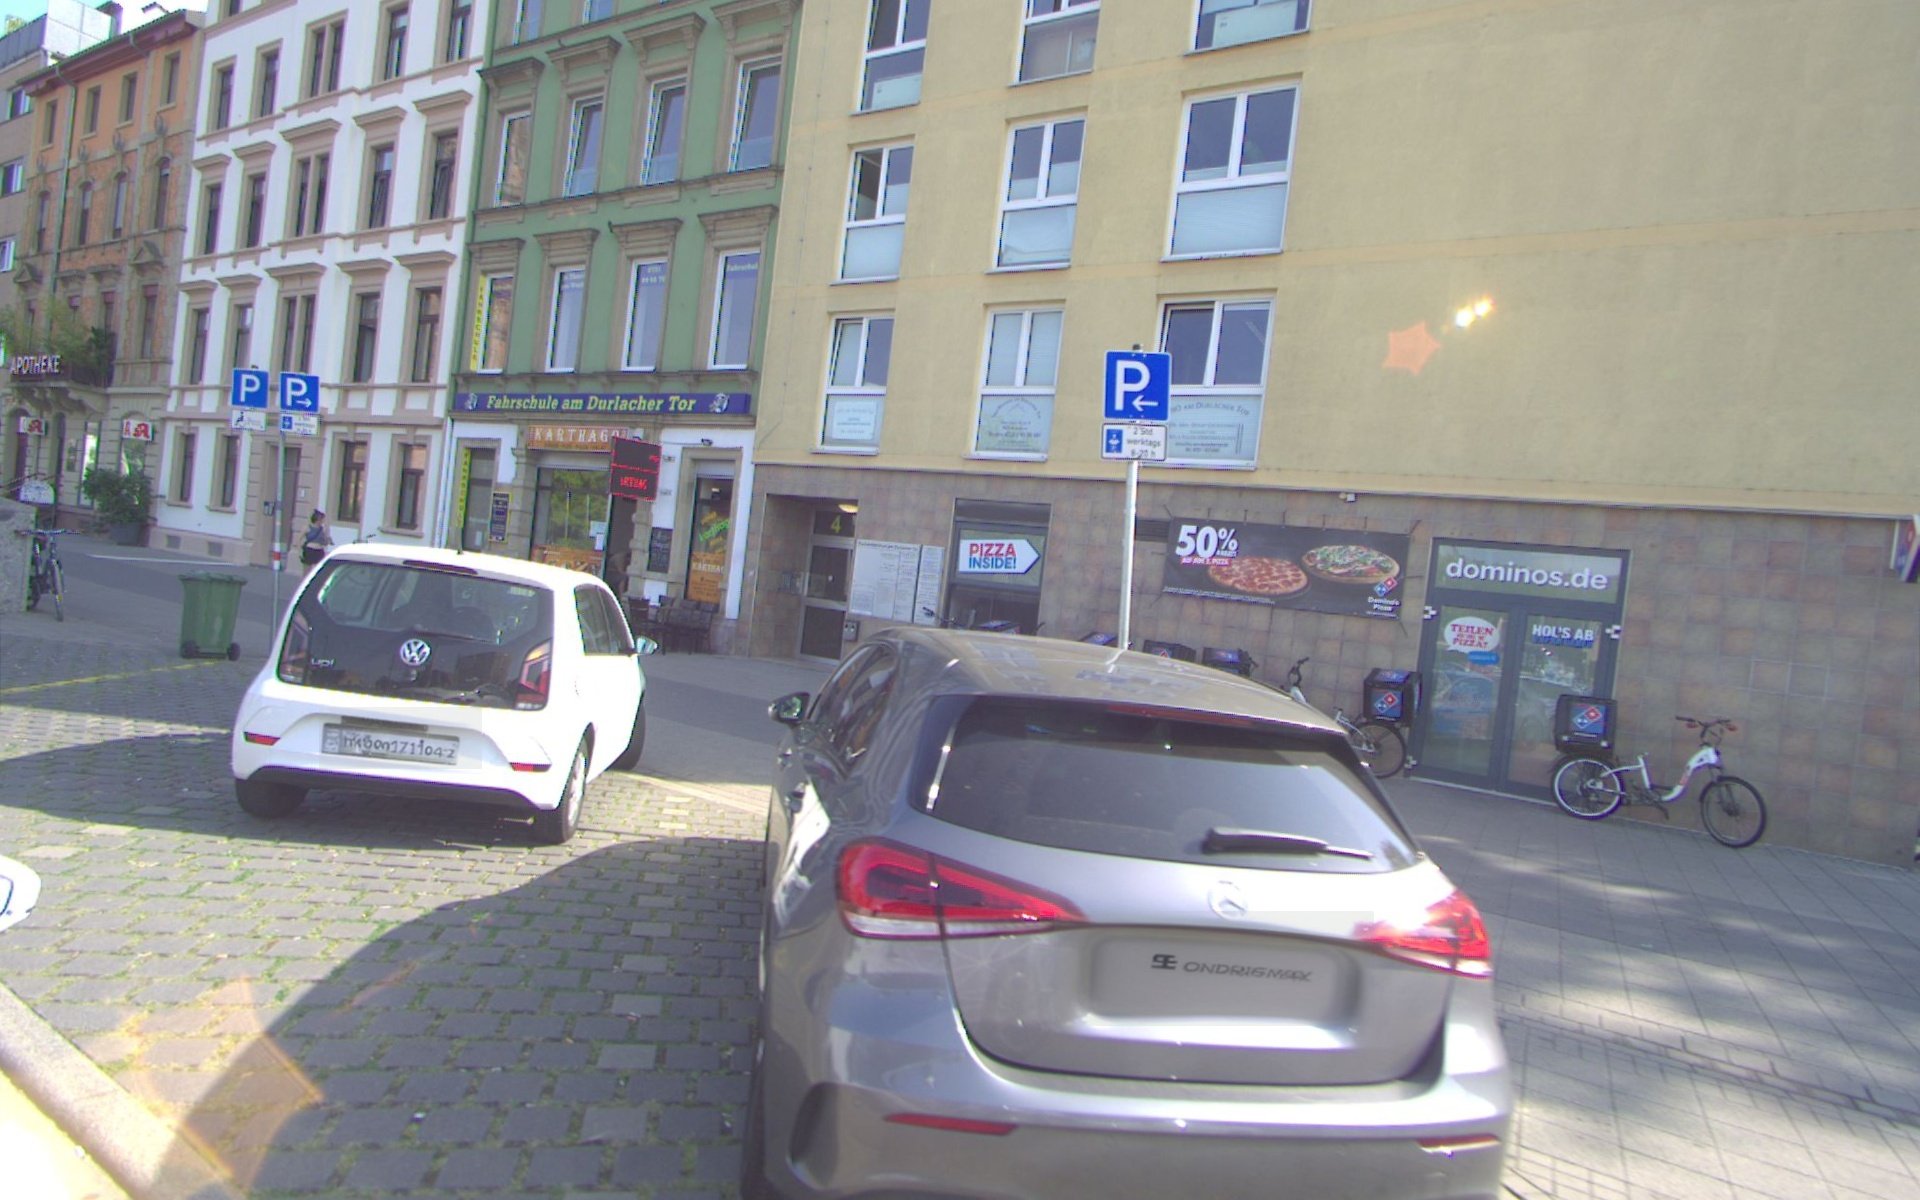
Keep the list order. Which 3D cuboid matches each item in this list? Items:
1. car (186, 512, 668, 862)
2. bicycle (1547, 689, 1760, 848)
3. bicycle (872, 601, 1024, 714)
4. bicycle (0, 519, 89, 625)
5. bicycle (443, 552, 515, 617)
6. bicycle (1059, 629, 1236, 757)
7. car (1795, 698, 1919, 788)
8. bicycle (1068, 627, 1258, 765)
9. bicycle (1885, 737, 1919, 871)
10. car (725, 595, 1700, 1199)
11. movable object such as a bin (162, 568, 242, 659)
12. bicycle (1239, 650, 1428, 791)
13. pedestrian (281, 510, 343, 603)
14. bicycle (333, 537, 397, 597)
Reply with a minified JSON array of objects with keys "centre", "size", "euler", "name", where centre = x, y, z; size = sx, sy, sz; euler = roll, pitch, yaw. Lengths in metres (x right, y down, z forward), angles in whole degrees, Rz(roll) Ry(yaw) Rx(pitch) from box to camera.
[{"centre":[-2.969,0.419,6.448],"size":[1.596,1.482,3.522],"euler":[7,0,-10],"name":"car"},{"centre":[6.960,1.663,10.195],"size":[1.609,1.277,0.469],"euler":[7,1,31],"name":"bicycle"},{"centre":[-0.185,0.774,13.917],"size":[1.964,1.277,0.603],"euler":[7,1,31],"name":"bicycle"},{"centre":[-11.574,-0.363,12.631],"size":[1.760,1.148,0.384],"euler":[7,1,32],"name":"bicycle"},{"centre":[-9.812,-0.324,20.486],"size":[1.691,1.148,0.384],"euler":[7,1,32],"name":"bicycle"},{"centre":[2.334,1.124,12.558],"size":[1.961,1.277,0.604],"euler":[7,1,23],"name":"bicycle"},{"centre":[21.763,3.363,22.820],"size":[3.934,1.665,1.995],"euler":[7,1,32],"name":"car"},{"centre":[2.356,1.082,11.735],"size":[1.961,1.277,0.604],"euler":[7,1,23],"name":"bicycle"},{"centre":[9.657,2.036,9.629],"size":[0.659,1.221,2.019],"euler":[7,1,31],"name":"bicycle"},{"centre":[0.142,0.819,4.036],"size":[1.817,1.440,4.401],"euler":[7,-1,-10],"name":"car"},{"centre":[-8.241,0.153,10.939],"size":[0.528,0.914,0.490],"euler":[7,1,34],"name":"movable object such as a bin"},{"centre":[4.245,1.333,11.496],"size":[1.818,1.277,0.603],"euler":[7,1,31],"name":"bicycle"},{"centre":[-12.278,-0.824,19.054],"size":[0.725,1.650,0.609],"euler":[7,1,32],"name":"pedestrian"},{"centre":[-13.195,-0.745,22.289],"size":[1.691,1.148,0.384],"euler":[7,1,32],"name":"bicycle"}]
